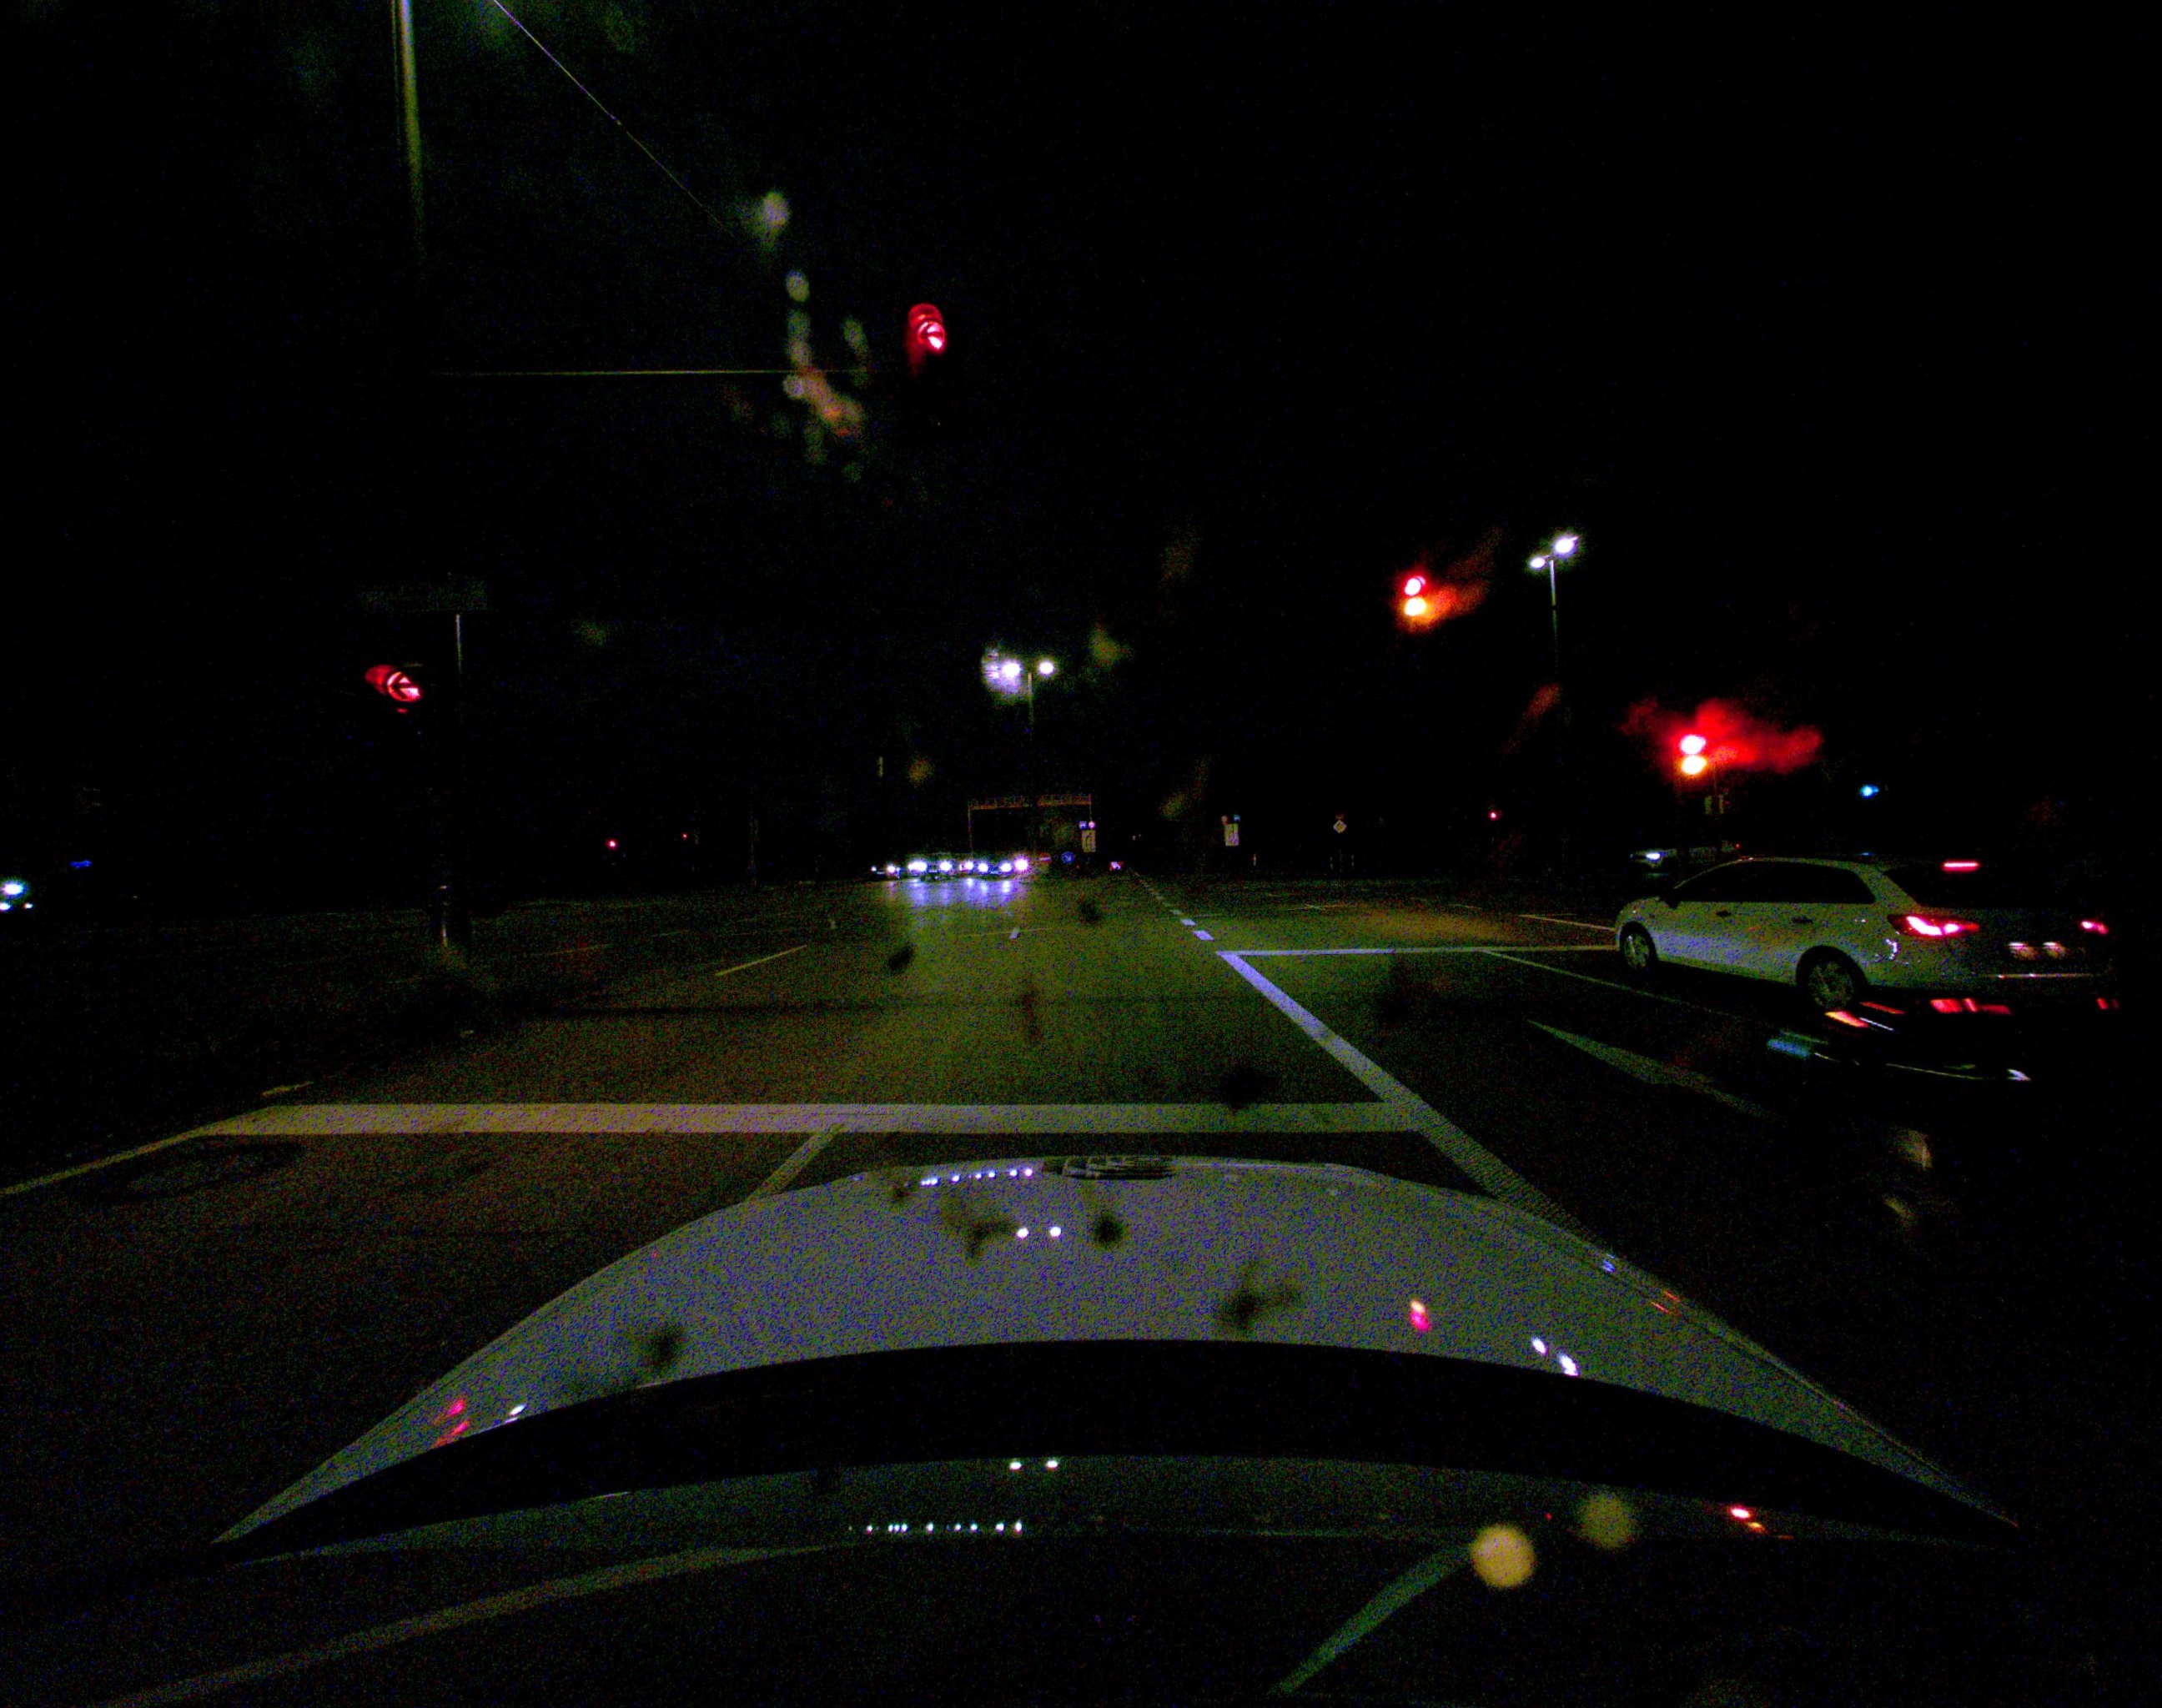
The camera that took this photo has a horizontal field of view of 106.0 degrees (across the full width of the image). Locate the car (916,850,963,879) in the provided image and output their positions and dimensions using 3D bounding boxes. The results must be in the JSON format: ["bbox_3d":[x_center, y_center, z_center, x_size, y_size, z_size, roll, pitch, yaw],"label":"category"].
[{"bbox_3d":[-8.787,0.629,50.928,1.900,1.682,4.424,-1,1,4],"label":"car"}]

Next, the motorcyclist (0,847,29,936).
[{"bbox_3d":[-24.790,0.844,18.573,0.761,2.013,0.637,-1,0,6],"label":"motorcyclist"}]

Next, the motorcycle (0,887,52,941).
[{"bbox_3d":[-24.591,1.351,18.462,1.793,1.163,0.674,-1,0,6],"label":"motorcycle"}]

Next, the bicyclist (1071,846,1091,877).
[{"bbox_3d":[-0.004,0.424,44.718,0.995,1.651,0.603,-1,0,-3],"label":"bicyclist"}]

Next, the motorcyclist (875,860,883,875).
[{"bbox_3d":[-24.002,1.596,96.837,0.681,1.759,0.789,-5,-2,-5],"label":"motorcyclist"}]

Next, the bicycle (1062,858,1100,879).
[{"bbox_3d":[-0.012,0.803,44.702,2.057,1.101,0.694,-1,0,-4],"label":"bicycle"}]

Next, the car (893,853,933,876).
[{"bbox_3d":[-12.021,0.714,58.470,1.824,1.524,4.003,-2,0,3],"label":"car"}]

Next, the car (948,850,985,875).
[{"bbox_3d":[-8.134,0.561,58.355,1.738,1.626,4.367,-1,1,4],"label":"car"}]

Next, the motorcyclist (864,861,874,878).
[{"bbox_3d":[-23.956,1.746,91.909,0.917,1.809,0.864,-5,-3,-20],"label":"motorcyclist"}]

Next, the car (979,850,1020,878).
[{"bbox_3d":[-5.057,0.588,50.985,1.844,1.633,4.589,-1,1,3],"label":"car"}]

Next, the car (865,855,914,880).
[{"bbox_3d":[-12.183,0.839,52.129,1.772,1.445,4.297,-1,1,5],"label":"car"}]

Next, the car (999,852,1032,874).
[{"bbox_3d":[-4.722,0.616,59.032,1.765,1.481,3.914,-1,0,4],"label":"car"}]

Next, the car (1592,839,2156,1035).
[{"bbox_3d":[7.198,0.621,8.115,1.614,1.443,4.117,0,0,-1],"label":"car"}]

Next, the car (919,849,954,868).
[{"bbox_3d":[-11.662,0.342,65.976,1.824,1.390,4.401,-2,1,3],"label":"car"}]

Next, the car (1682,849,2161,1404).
[{"bbox_3d":[3.708,0.704,1.540,1.785,1.443,4.532,0,0,-1],"label":"car"}]
